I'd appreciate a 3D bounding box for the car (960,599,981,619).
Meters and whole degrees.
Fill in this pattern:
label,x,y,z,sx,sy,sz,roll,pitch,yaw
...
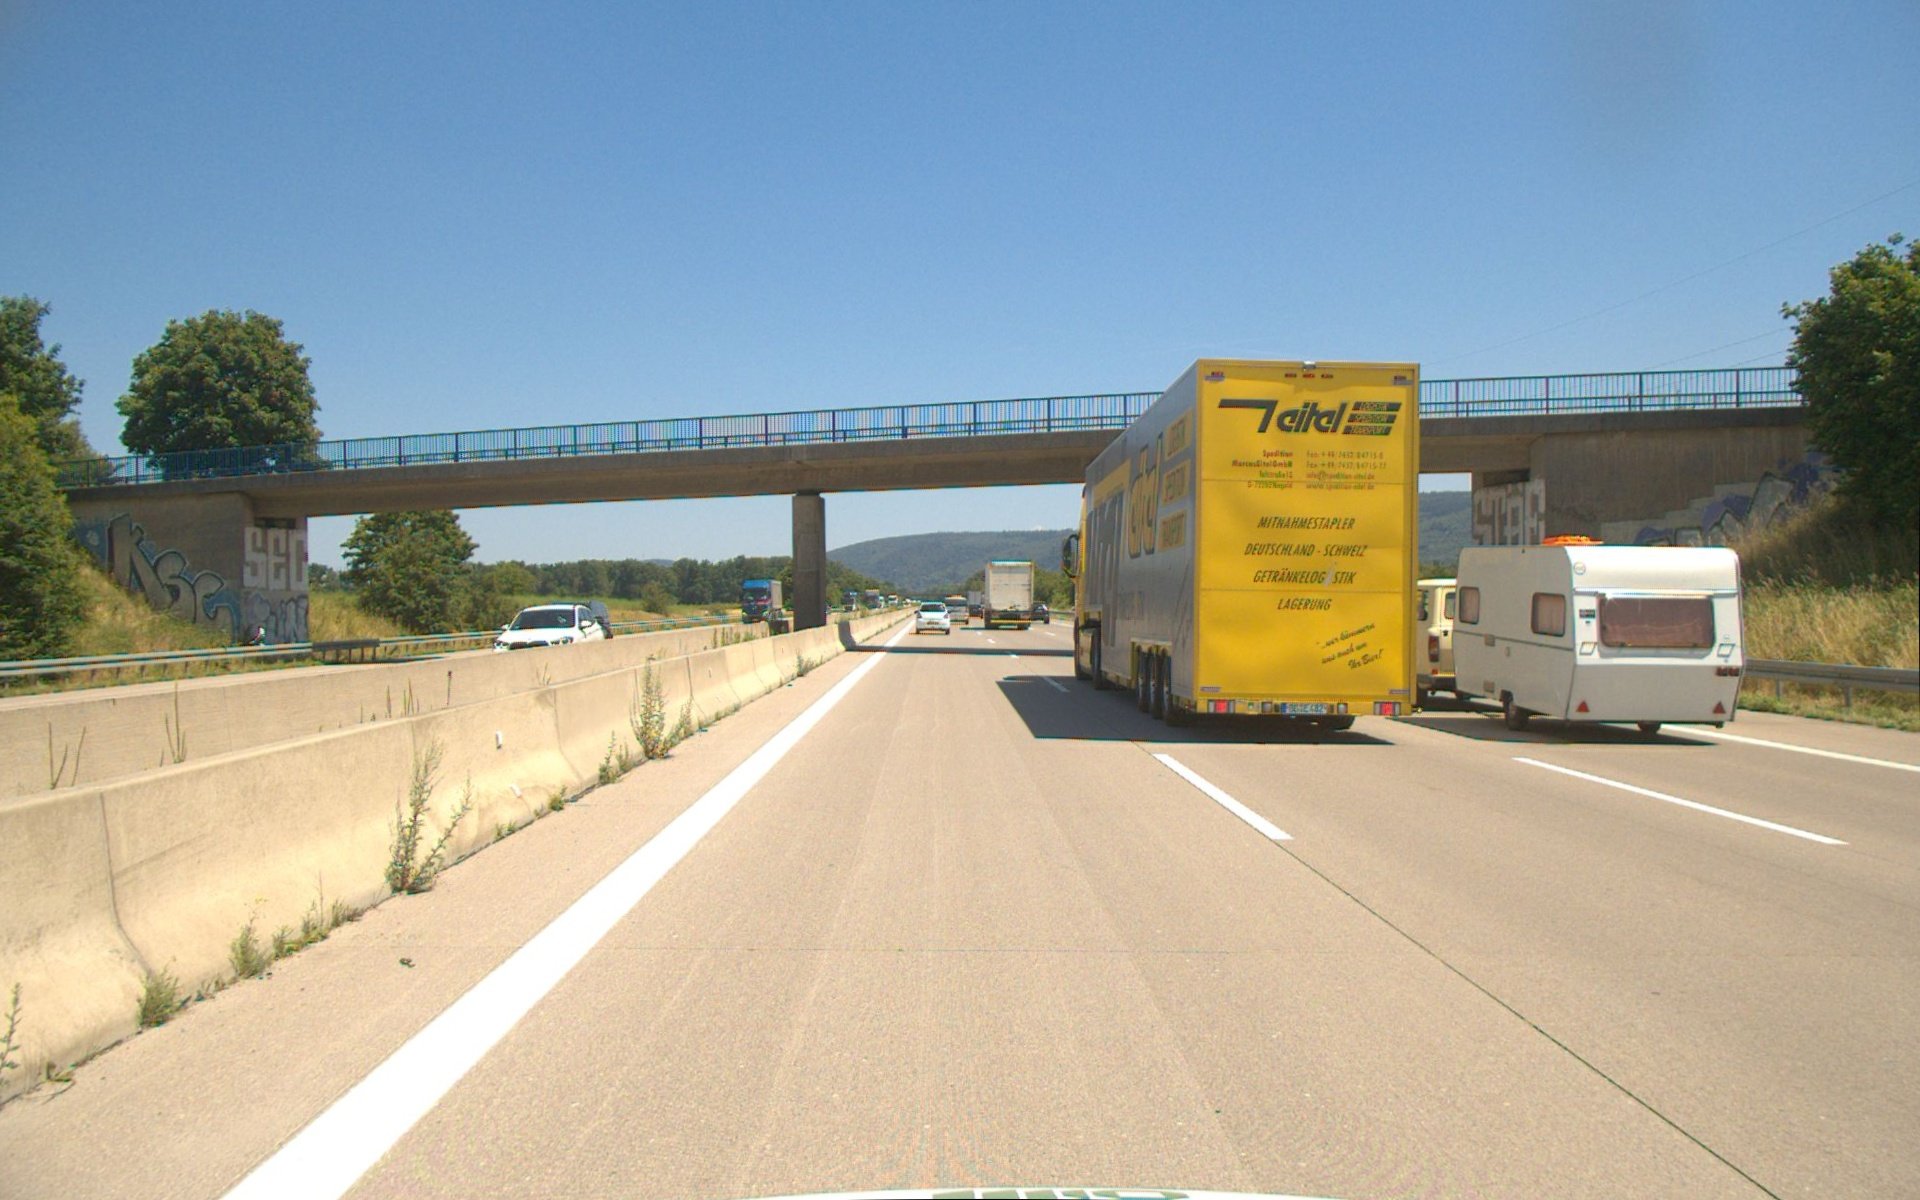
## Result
label,x,y,z,sx,sy,sz,roll,pitch,yaw
car,1.027,0.850,165.216,1.953,1.881,3.999,3,0,-2

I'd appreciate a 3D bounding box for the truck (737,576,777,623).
label,x,y,z,sx,sy,sz,roll,pitch,yaw
truck,-18.731,-0.043,152.773,2.921,4.162,6.464,1,0,-1

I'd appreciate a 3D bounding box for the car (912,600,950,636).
label,x,y,z,sx,sy,sz,roll,pitch,yaw
car,-1.443,0.858,80.724,1.783,1.691,3.998,0,0,-2

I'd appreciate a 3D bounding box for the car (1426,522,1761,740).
label,x,y,z,sx,sy,sz,roll,pitch,yaw
car,7.827,0.354,21.162,2.091,2.388,5.515,1,0,-1

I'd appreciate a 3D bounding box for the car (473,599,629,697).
label,x,y,z,sx,sy,sz,roll,pitch,yaw
car,-9.290,1.030,38.145,2.206,2.049,5.977,1,0,-1

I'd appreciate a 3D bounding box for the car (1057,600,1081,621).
label,x,y,z,sx,sy,sz,roll,pitch,yaw
car,10.628,0.999,161.184,1.953,1.881,3.999,3,0,-2

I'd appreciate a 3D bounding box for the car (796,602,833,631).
label,x,y,z,sx,sy,sz,roll,pitch,yaw
car,-10.573,1.169,120.674,2.259,2.049,5.654,1,0,-1

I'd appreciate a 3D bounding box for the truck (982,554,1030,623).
label,x,y,z,sx,sy,sz,roll,pitch,yaw
truck,2.690,-0.642,97.975,2.529,3.945,4.982,1,0,-2

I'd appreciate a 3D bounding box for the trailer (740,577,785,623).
label,x,y,z,sx,sy,sz,roll,pitch,yaw
trailer,-18.832,0.017,158.258,2.921,4.161,11.602,-1,0,-1

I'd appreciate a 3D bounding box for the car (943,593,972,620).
label,x,y,z,sx,sy,sz,roll,pitch,yaw
car,-0.206,0.468,119.494,1.953,1.881,3.999,1,0,-2

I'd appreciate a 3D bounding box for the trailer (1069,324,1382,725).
label,x,y,z,sx,sy,sz,roll,pitch,yaw
trailer,3.397,-0.790,25.594,1.953,4.329,15.194,1,0,-1

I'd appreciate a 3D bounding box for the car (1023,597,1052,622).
label,x,y,z,sx,sy,sz,roll,pitch,yaw
car,6.033,0.751,129.117,1.953,1.881,3.999,3,0,-2

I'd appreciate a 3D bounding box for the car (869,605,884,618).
label,x,y,z,sx,sy,sz,roll,pitch,yaw
car,-11.732,1.602,232.262,1.953,1.895,5.466,1,0,-1

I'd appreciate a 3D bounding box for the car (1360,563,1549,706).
label,x,y,z,sx,sy,sz,roll,pitch,yaw
car,7.619,0.508,25.833,1.747,2.049,3.819,1,0,-1

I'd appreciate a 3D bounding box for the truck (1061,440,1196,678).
label,x,y,z,sx,sy,sz,roll,pitch,yaw
truck,3.241,-0.735,32.853,1.953,4.329,5.193,1,0,-2

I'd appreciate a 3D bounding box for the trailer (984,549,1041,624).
label,x,y,z,sx,sy,sz,roll,pitch,yaw
trailer,2.862,-0.692,92.748,2.529,3.945,10.369,1,0,-2
